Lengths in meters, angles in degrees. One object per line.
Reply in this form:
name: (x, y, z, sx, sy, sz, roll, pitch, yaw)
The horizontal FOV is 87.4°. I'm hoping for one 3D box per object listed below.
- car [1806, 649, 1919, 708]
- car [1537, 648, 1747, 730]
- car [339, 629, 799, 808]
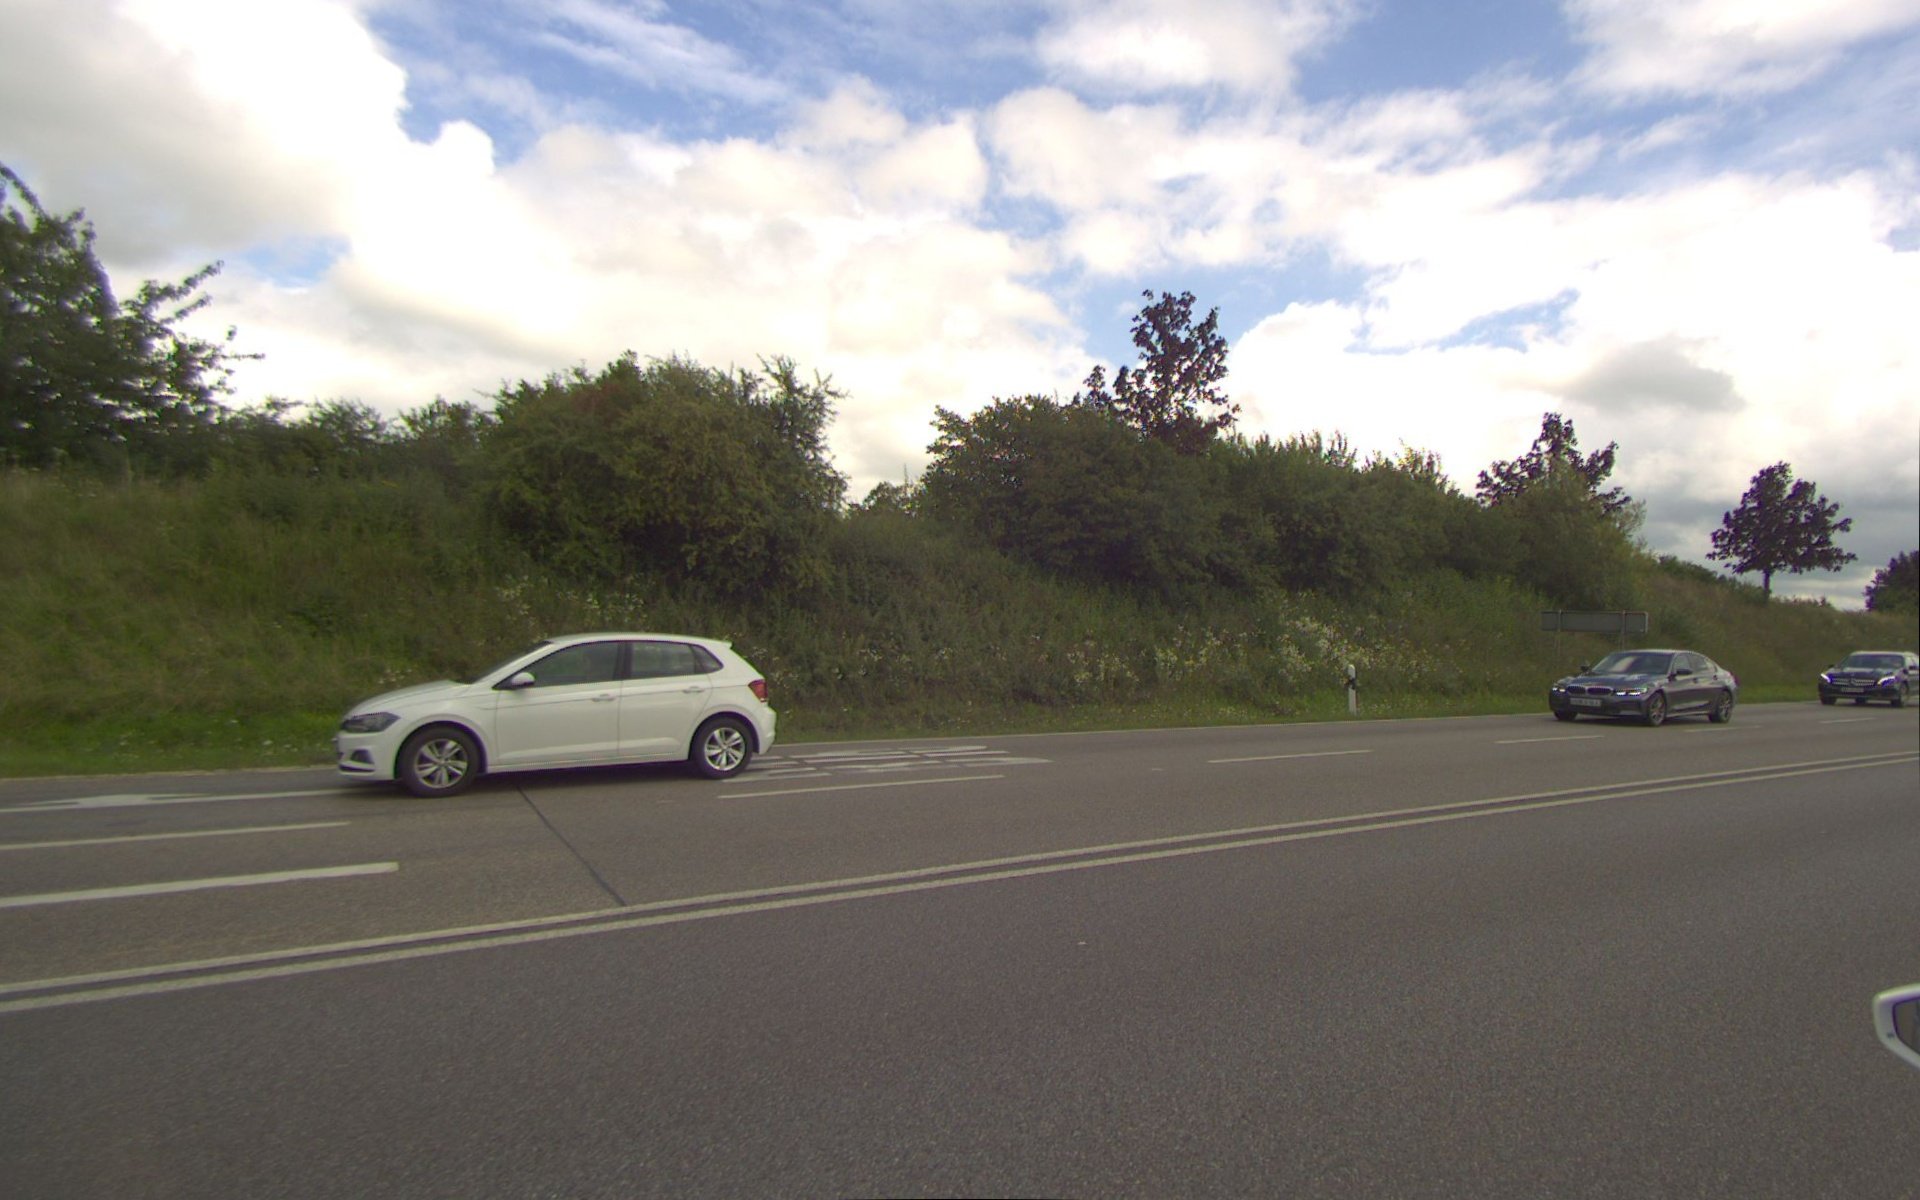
car: (26.320, 2.199, 28.828, 4.653, 1.531, 1.784, 2, -1, -32)
car: (13.820, 1.724, 20.273, 4.653, 1.424, 1.784, 2, -1, -32)
car: (-3.787, 1.048, 9.995, 4.011, 1.433, 1.599, 2, -1, -32)
